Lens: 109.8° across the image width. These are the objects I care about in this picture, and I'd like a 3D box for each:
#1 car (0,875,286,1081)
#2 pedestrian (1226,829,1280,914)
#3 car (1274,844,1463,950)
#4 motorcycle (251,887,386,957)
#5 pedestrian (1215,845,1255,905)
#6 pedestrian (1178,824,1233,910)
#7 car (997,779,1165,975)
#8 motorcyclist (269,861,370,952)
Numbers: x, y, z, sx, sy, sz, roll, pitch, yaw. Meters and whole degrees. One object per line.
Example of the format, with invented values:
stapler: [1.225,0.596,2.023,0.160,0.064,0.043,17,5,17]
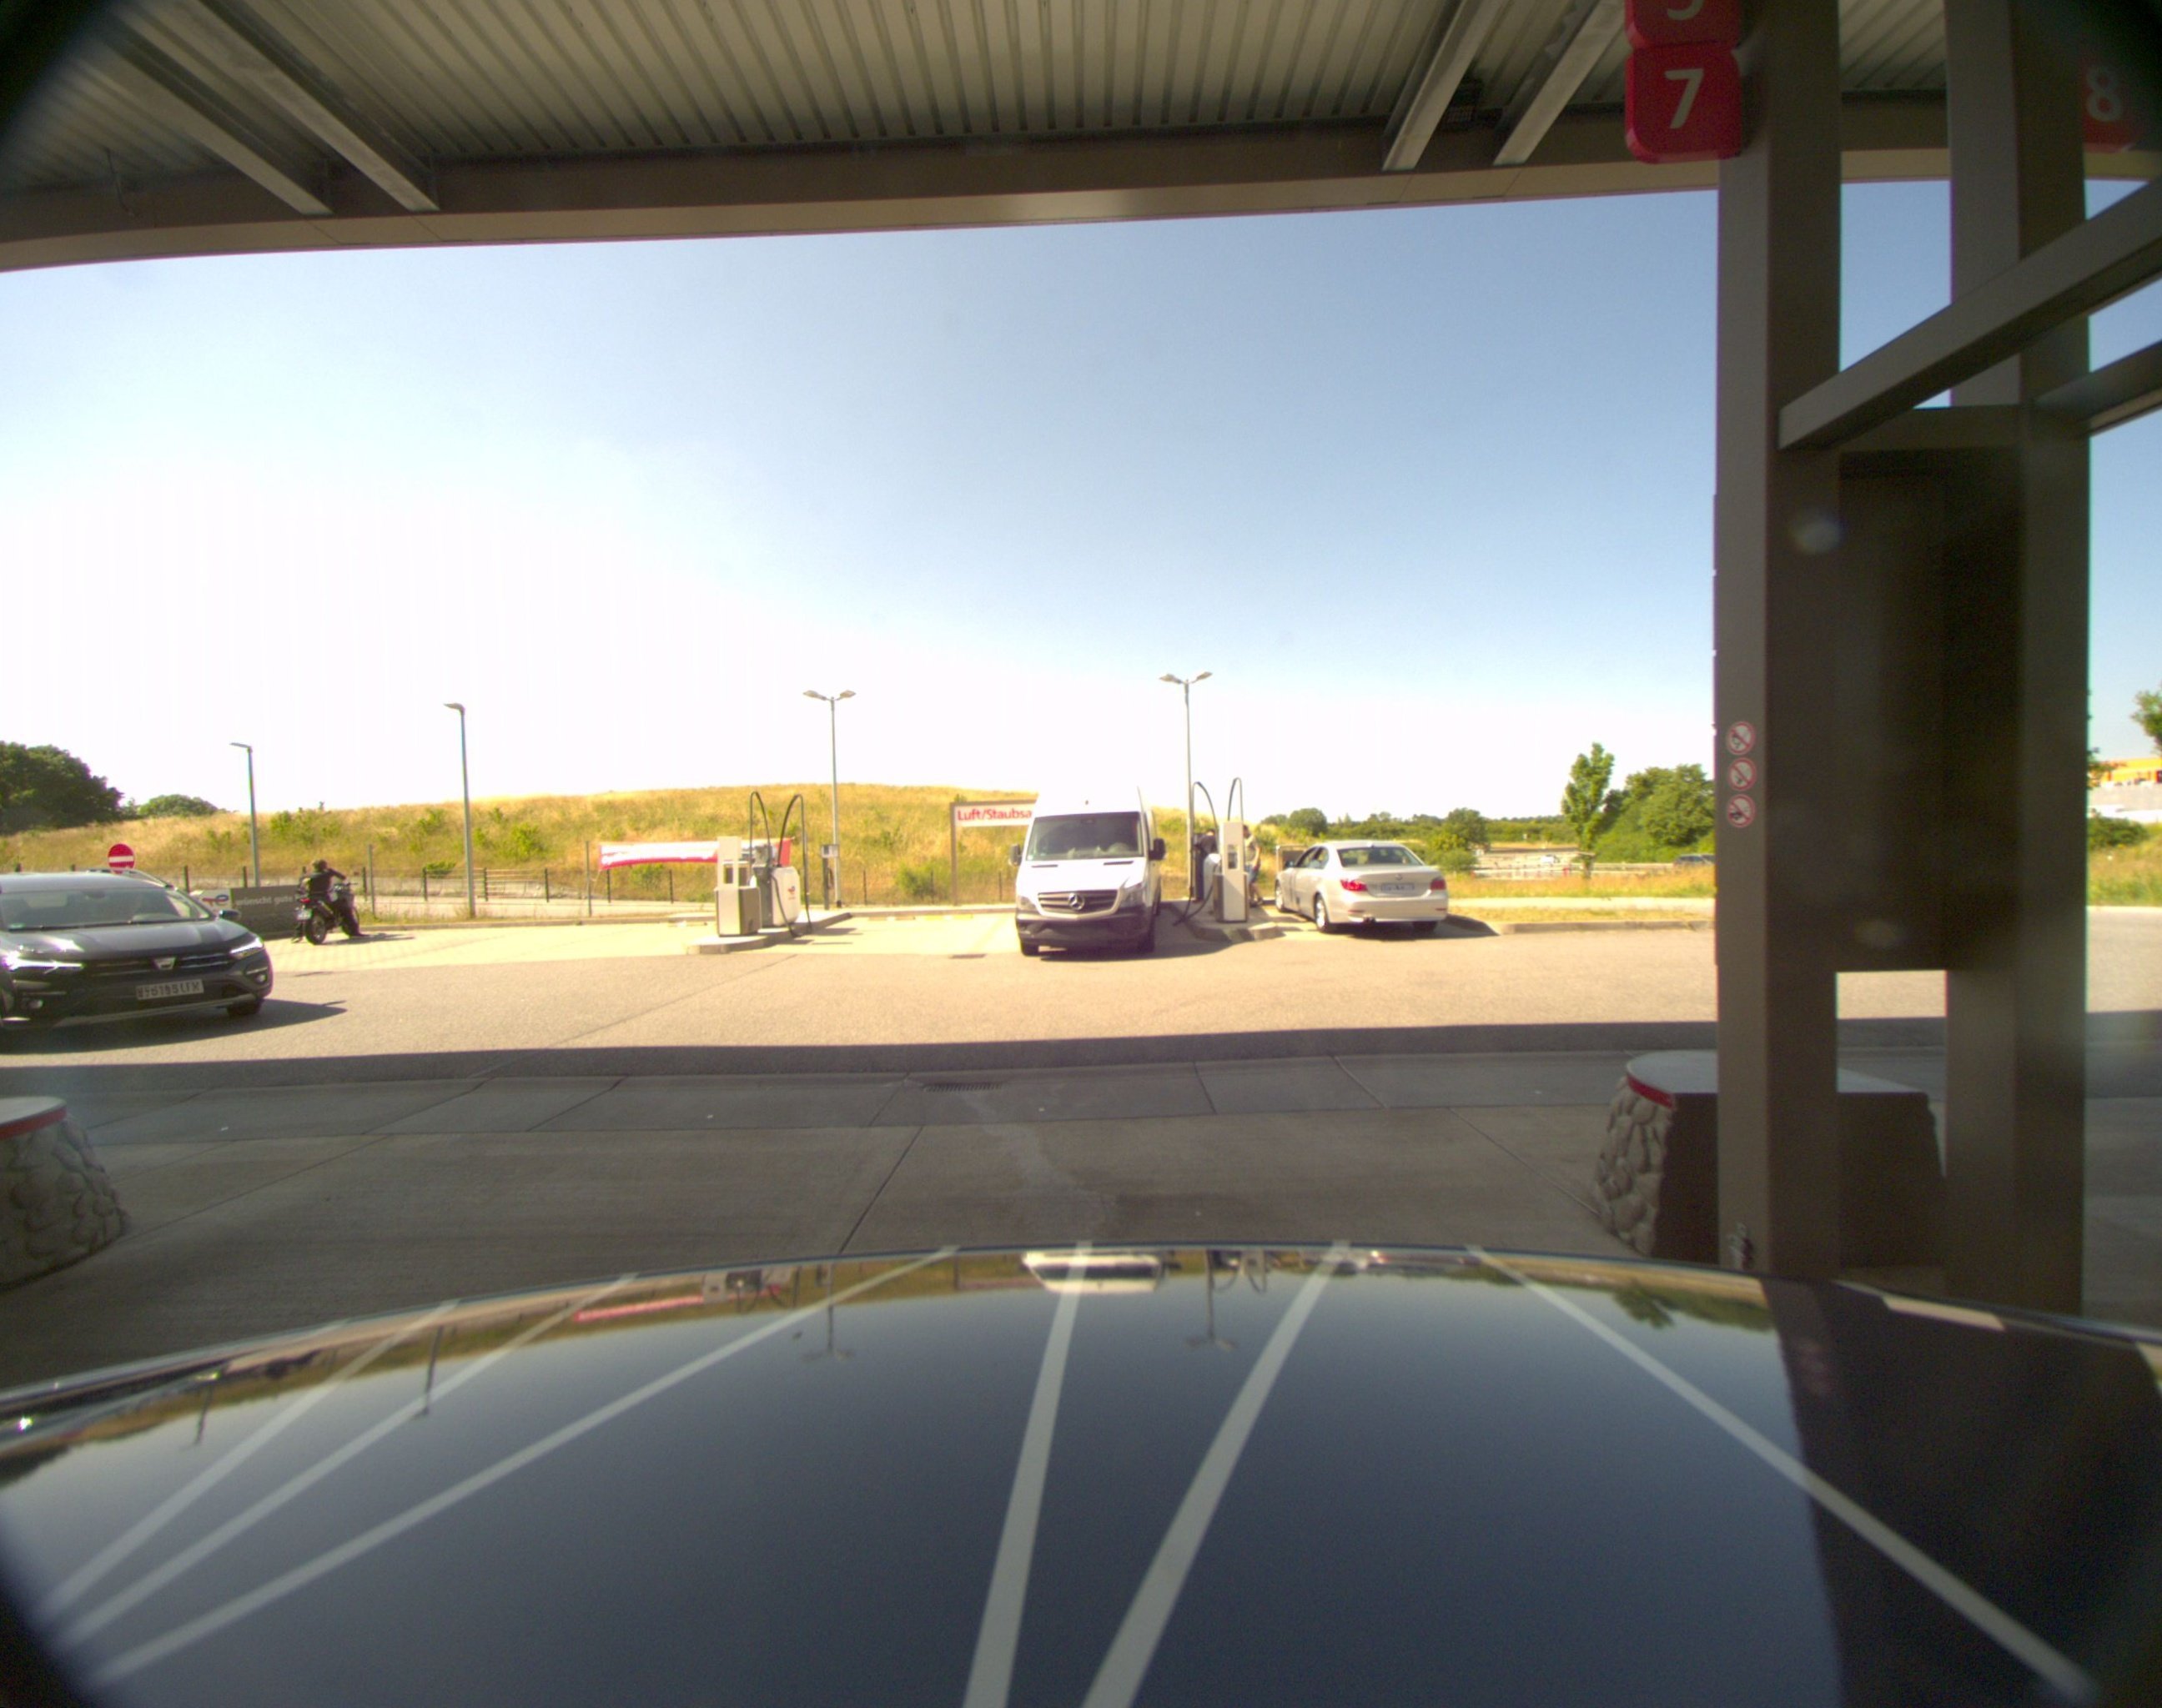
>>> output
car: [-10.755,1.098,8.052,4.620,1.635,1.746,-1,1,25]
pedestrian: [3.622,0.353,16.065,0.845,1.739,0.708,-2,1,-16]
car: [4.726,0.601,13.201,1.791,1.420,4.321,-1,2,2]
motorcycle: [-15.146,1.307,15.210,1.047,1.100,2.411,-2,2,-23]
pedestrian: [3.440,0.458,16.971,0.670,1.299,0.576,-3,2,-43]
pedestrian: [2.632,0.261,16.086,0.710,1.760,0.843,-3,2,-42]
car: [0.382,0.142,13.481,1.997,2.557,7.031,-1,3,8]
motorcyclist: [-15.124,1.003,15.135,1.036,1.678,1.096,-2,1,-23]
